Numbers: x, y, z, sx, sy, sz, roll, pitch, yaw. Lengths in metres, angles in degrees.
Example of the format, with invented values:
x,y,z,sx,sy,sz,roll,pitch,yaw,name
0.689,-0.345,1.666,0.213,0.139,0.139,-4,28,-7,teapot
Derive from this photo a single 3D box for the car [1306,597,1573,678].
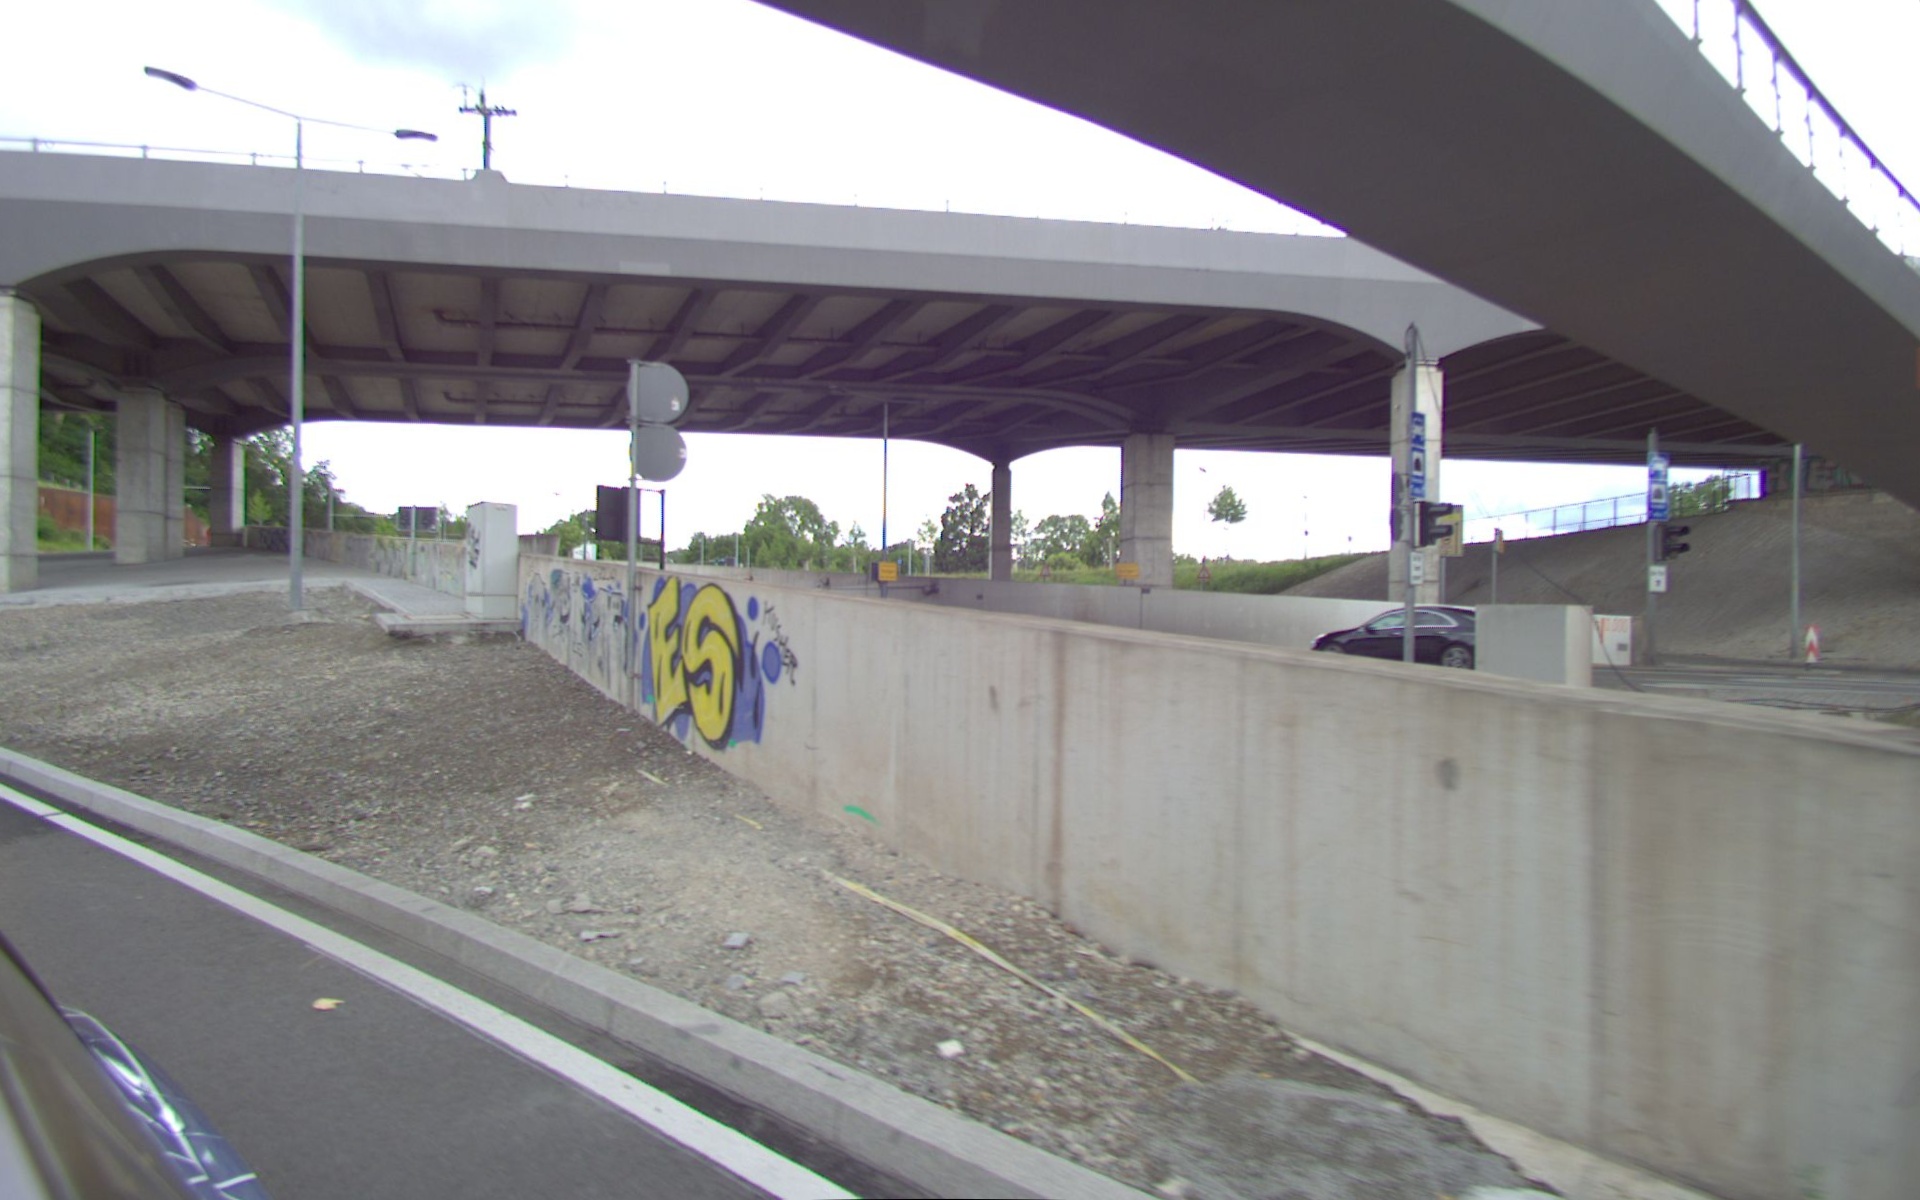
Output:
x,y,z,sx,sy,sz,roll,pitch,yaw,name
9.687,0.748,20.778,1.767,1.489,4.621,1,-2,-41,car
